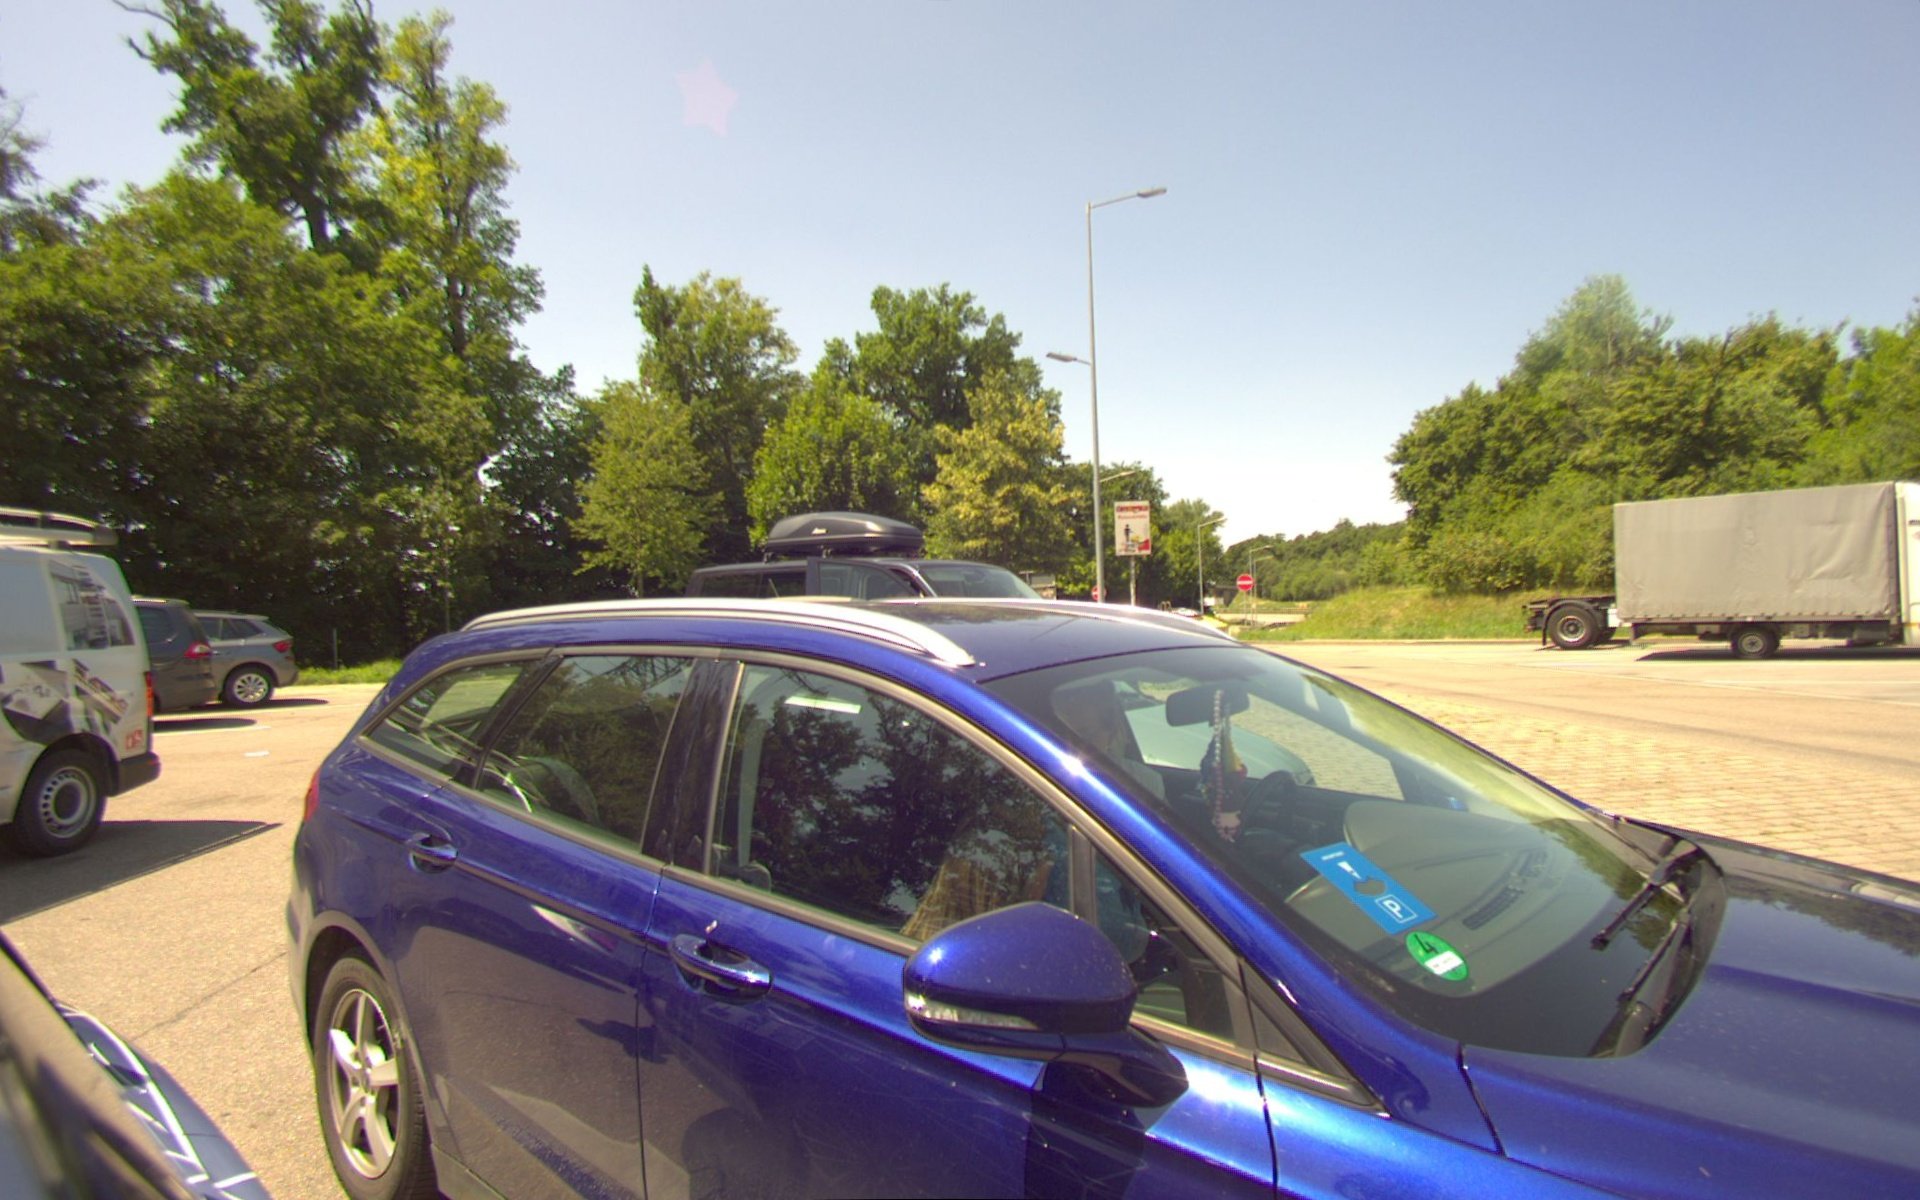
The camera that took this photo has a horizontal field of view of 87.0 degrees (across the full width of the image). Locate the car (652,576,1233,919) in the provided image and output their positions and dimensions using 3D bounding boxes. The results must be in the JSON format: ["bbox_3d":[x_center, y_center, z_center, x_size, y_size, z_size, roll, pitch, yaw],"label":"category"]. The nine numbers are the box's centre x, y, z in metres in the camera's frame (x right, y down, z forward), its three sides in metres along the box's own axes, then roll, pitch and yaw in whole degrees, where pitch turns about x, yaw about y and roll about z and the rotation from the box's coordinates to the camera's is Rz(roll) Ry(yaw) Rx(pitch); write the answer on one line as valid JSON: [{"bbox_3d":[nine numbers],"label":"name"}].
[{"bbox_3d":[-0.248,0.628,5.590,3.112,1.370,1.326,-2,-1,41],"label":"car"}]

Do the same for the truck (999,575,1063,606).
[{"bbox_3d":[3.424,-0.459,48.786,2.866,1.386,1.158,-2,-1,22],"label":"truck"}]

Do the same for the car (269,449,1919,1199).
[{"bbox_3d":[0.260,0.646,2.069,4.411,1.429,1.721,-2,-1,41],"label":"car"}]

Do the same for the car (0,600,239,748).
[{"bbox_3d":[-11.487,0.876,12.654,1.755,1.701,3.798,-2,-1,45],"label":"car"}]

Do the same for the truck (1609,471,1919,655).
[{"bbox_3d":[16.587,-0.621,18.847,7.253,3.175,2.148,-2,-1,41],"label":"truck"}]

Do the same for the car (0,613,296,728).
[{"bbox_3d":[-12.536,0.999,15.681,3.535,1.513,1.708,-1,0,-42],"label":"car"}]

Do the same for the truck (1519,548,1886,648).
[{"bbox_3d":[16.901,0.048,23.459,6.613,2.029,1.973,-2,-1,41],"label":"truck"}]

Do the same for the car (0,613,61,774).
[{"bbox_3d":[-10.422,0.897,8.852,1.848,1.465,3.722,-3,-1,45],"label":"car"}]

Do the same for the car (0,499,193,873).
[{"bbox_3d":[-6.254,0.470,4.577,1.816,2.121,5.440,0,-1,-5],"label":"car"}]

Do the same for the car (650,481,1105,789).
[{"bbox_3d":[-0.887,0.325,9.584,4.076,2.336,1.767,-2,-1,35],"label":"car"}]
